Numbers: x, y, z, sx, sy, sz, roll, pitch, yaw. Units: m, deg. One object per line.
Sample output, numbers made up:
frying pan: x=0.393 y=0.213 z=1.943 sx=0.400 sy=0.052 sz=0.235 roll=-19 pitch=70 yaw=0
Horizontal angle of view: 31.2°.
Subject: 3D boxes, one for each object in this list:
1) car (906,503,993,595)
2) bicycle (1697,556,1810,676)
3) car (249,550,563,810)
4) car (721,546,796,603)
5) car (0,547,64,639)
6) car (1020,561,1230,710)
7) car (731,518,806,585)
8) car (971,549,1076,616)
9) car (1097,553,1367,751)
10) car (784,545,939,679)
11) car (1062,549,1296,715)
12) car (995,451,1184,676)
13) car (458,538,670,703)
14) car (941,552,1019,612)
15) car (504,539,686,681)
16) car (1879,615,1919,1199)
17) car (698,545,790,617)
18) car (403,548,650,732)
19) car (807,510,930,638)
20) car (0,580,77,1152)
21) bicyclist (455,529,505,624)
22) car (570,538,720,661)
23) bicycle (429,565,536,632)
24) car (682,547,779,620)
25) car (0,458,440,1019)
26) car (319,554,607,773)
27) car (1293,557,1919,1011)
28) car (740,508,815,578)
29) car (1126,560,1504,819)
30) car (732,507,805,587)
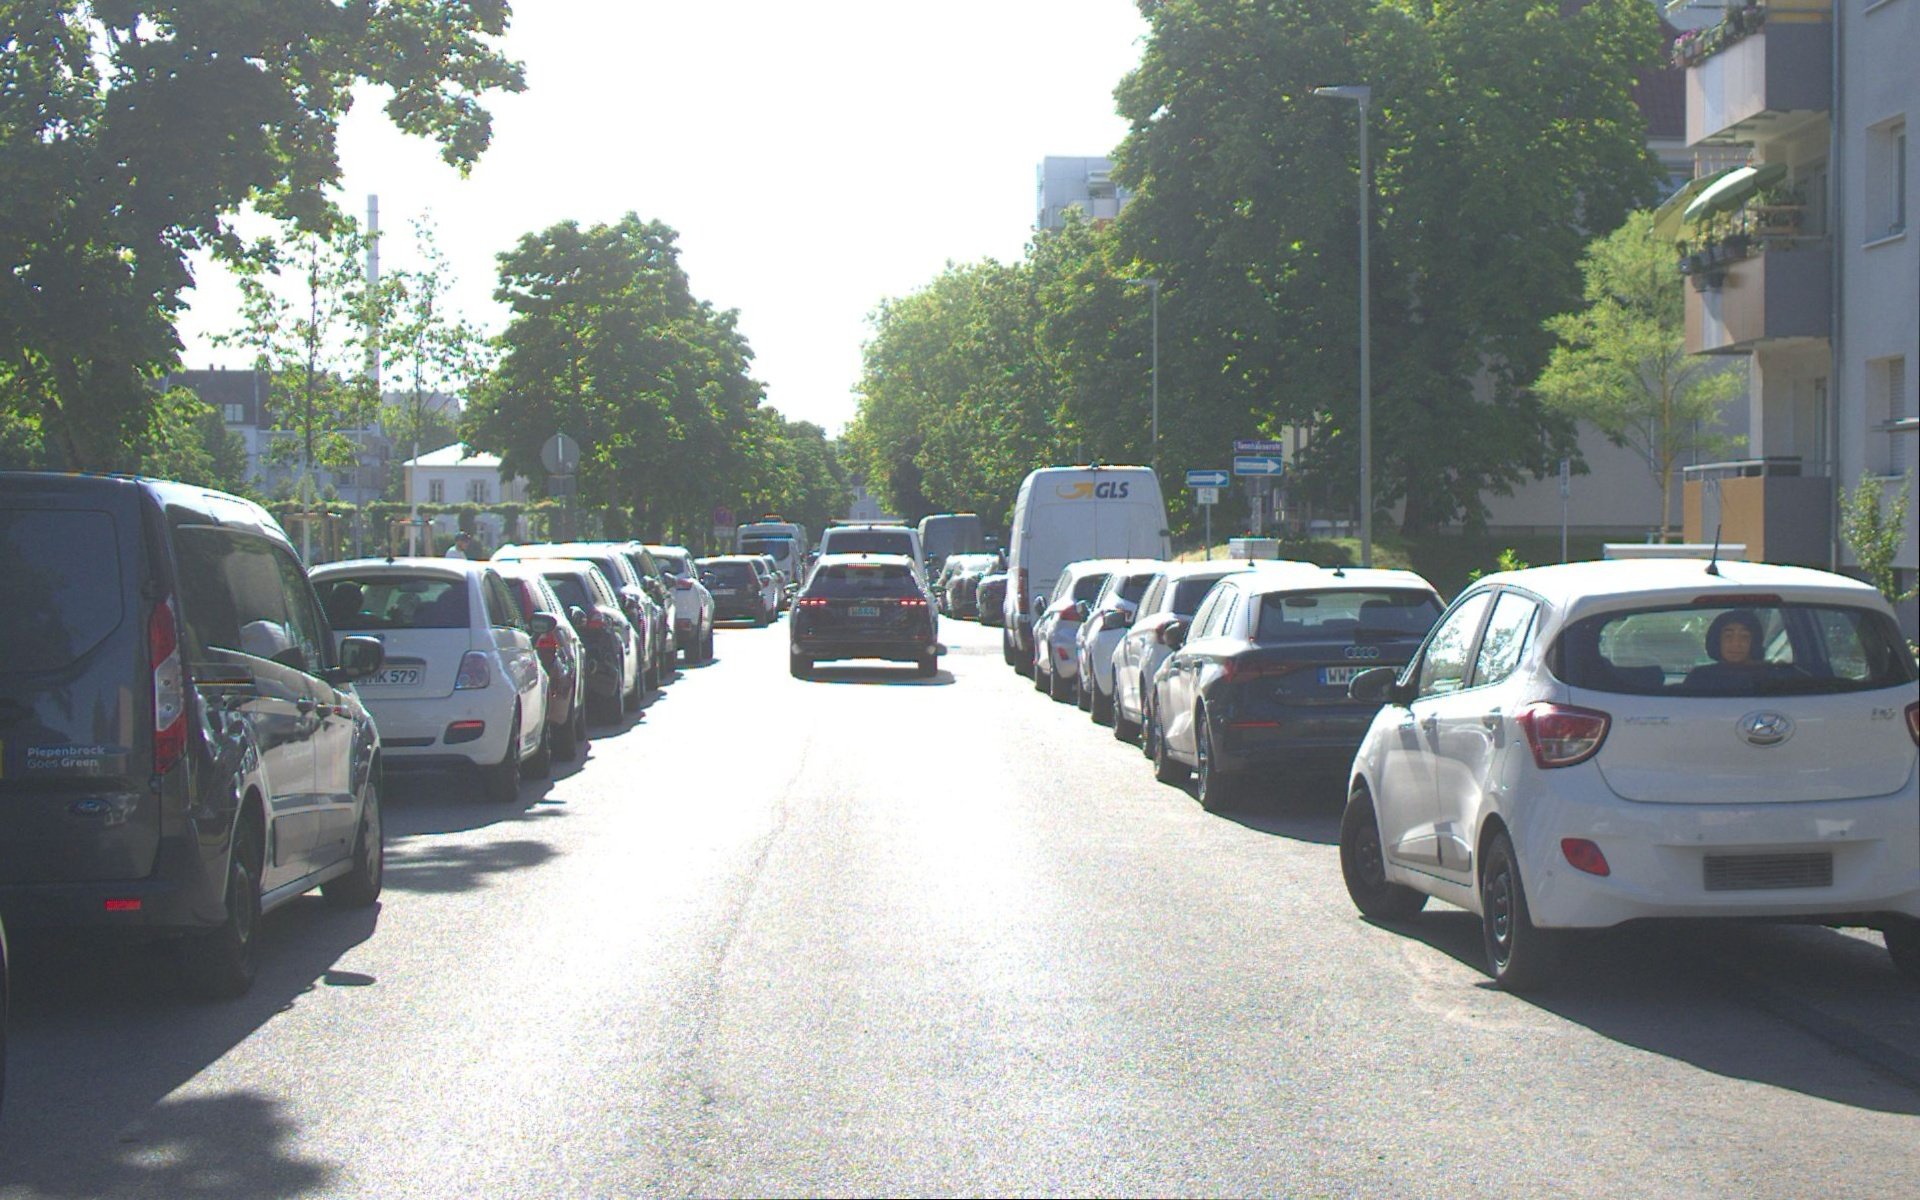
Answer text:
car: x=-0.347 y=-1.531 z=102.814 sx=2.162 sy=2.680 sz=5.417 roll=0 pitch=1 yaw=-5
bicycle: x=7.982 y=0.163 z=34.654 sx=0.595 sy=1.172 sz=2.014 roll=0 pitch=-1 yaw=-3
car: x=-3.492 y=0.447 z=22.213 sx=1.586 sy=1.487 sz=3.686 roll=-2 pitch=1 yaw=-3
car: x=-5.483 y=-0.713 z=93.739 sx=1.833 sy=1.495 sz=4.127 roll=0 pitch=1 yaw=0
car: x=-16.764 y=-0.122 z=55.158 sx=4.333 sy=1.404 sz=1.921 roll=0 pitch=3 yaw=-26
car: x=1.739 y=0.348 z=37.570 sx=1.848 sy=1.461 sz=4.202 roll=1 pitch=1 yaw=-3
car: x=-5.673 y=-1.448 z=102.195 sx=2.098 sy=1.936 sz=4.127 roll=0 pitch=1 yaw=-1
car: x=1.356 y=-0.405 z=75.351 sx=2.125 sy=1.333 sz=4.506 roll=-2 pitch=1 yaw=0
car: x=2.099 y=0.356 z=27.510 sx=1.721 sy=1.430 sz=4.153 roll=0 pitch=1 yaw=-1
car: x=-1.171 y=0.104 z=42.264 sx=1.779 sy=1.526 sz=4.000 roll=1 pitch=1 yaw=0
car: x=2.025 y=0.256 z=32.886 sx=1.878 sy=1.470 sz=4.140 roll=0 pitch=1 yaw=-1
car: x=1.622 y=-0.506 z=45.528 sx=2.142 sy=2.703 sz=6.842 roll=-1 pitch=1 yaw=0
car: x=-4.169 y=0.164 z=36.844 sx=1.819 sy=1.604 sz=4.739 roll=-2 pitch=1 yaw=-2
car: x=0.448 y=-0.448 z=81.291 sx=1.779 sy=1.366 sz=4.127 roll=0 pitch=1 yaw=0
car: x=-4.499 y=0.082 z=42.927 sx=1.842 sy=1.633 sz=4.715 roll=-1 pitch=1 yaw=-1
car: x=2.377 y=0.800 z=2.569 sx=1.843 sy=1.467 sz=5.066 roll=0 pitch=1 yaw=-2
car: x=-4.759 y=-0.428 z=76.022 sx=1.777 sy=1.490 sz=3.875 roll=-2 pitch=0 yaw=0
car: x=-3.930 y=0.312 z=31.819 sx=1.873 sy=1.514 sz=4.471 roll=-2 pitch=1 yaw=-3
car: x=-1.476 y=-0.451 z=56.822 sx=1.894 sy=1.984 sz=4.010 roll=-1 pitch=1 yaw=0
car: x=-3.153 y=0.688 z=7.321 sx=1.538 sy=1.423 sz=4.088 roll=0 pitch=1 yaw=-1
bicyclist: x=-8.116 y=-0.394 z=58.097 sx=0.788 sy=1.591 sz=0.696 roll=0 pitch=1 yaw=-4
car: x=-4.478 y=-0.042 z=49.448 sx=1.756 sy=1.641 sz=4.287 roll=-1 pitch=1 yaw=0
bicycle: x=-8.063 y=-0.027 z=58.108 sx=1.760 sy=1.123 sz=0.663 roll=0 pitch=0 yaw=-4
car: x=-4.743 y=-0.343 z=71.501 sx=1.748 sy=1.420 sz=3.916 roll=-2 pitch=0 yaw=0
car: x=-3.275 y=0.427 z=13.396 sx=1.864 sy=1.778 sz=4.992 roll=0 pitch=0 yaw=-2
car: x=-3.753 y=0.416 z=26.652 sx=1.755 sy=1.487 sz=4.669 roll=-2 pitch=1 yaw=-3
car: x=2.527 y=0.592 z=13.504 sx=1.747 sy=1.494 sz=3.862 roll=-1 pitch=1 yaw=-5
car: x=-7.083 y=-2.215 z=134.037 sx=2.616 sy=2.636 sz=6.114 roll=0 pitch=1 yaw=0
car: x=2.160 y=0.487 z=22.080 sx=1.699 sy=1.430 sz=4.472 roll=-2 pitch=1 yaw=-3
car: x=-6.020 y=-1.681 z=108.599 sx=2.098 sy=2.488 sz=4.127 roll=0 pitch=1 yaw=0
